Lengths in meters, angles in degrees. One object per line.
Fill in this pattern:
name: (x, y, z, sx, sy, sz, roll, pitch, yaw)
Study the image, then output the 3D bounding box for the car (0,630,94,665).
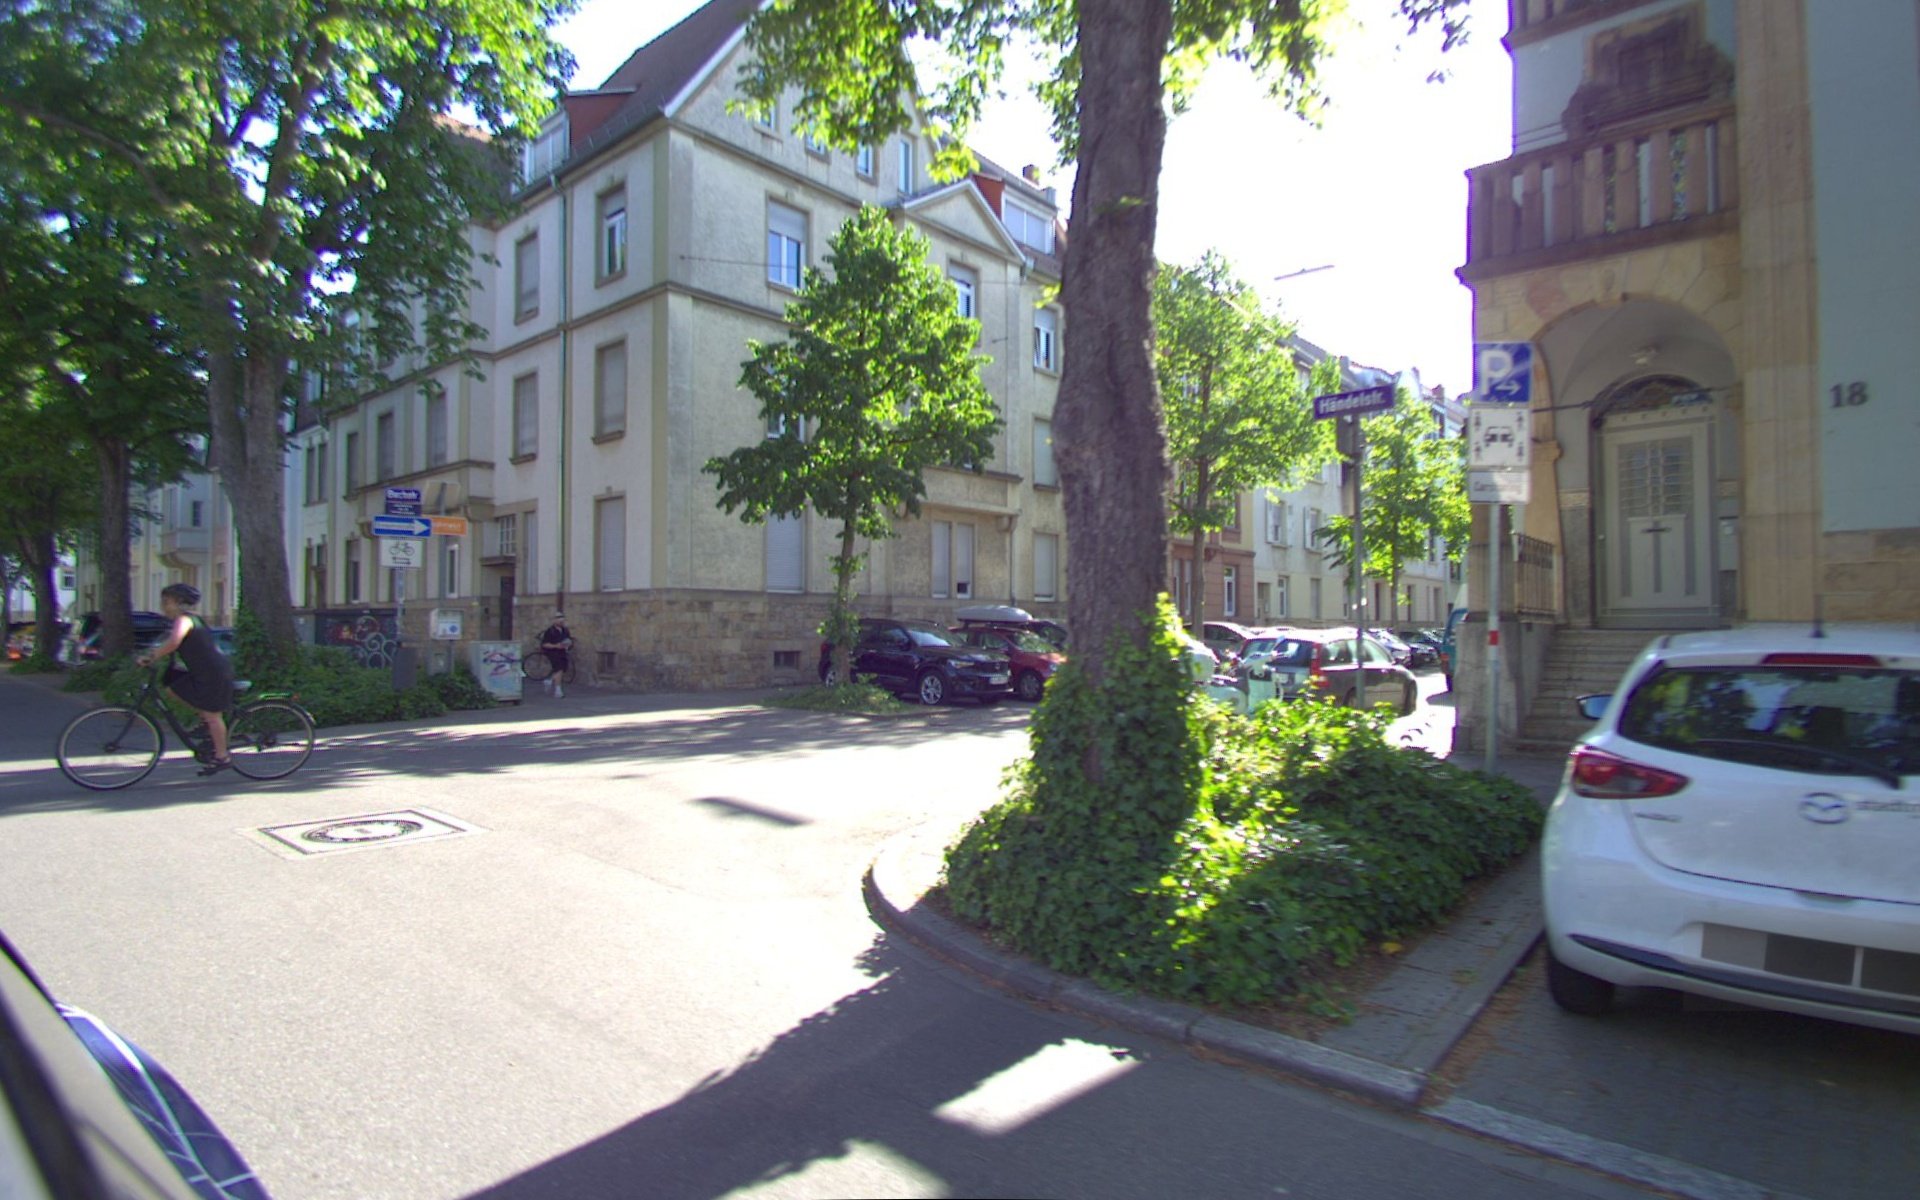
car: (-39.482, 2.011, 43.308, 1.541, 1.440, 3.451, -1, -2, 40)

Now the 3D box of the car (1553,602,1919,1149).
car: (3.850, 0.809, 4.275, 1.720, 1.528, 3.686, -2, -2, 40)

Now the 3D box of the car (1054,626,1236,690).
car: (4.817, 1.483, 26.750, 4.417, 1.496, 1.845, 0, -2, 43)

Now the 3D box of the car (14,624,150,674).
car: (-31.003, 1.692, 35.807, 1.460, 1.704, 3.451, -1, -2, 40)

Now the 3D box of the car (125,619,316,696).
car: (-19.328, 1.438, 26.639, 3.934, 1.775, 2.005, 0, 0, -35)

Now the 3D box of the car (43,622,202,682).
car: (-25.403, 1.560, 30.766, 1.681, 1.704, 3.451, -2, -3, 40)

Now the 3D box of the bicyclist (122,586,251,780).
bicyclist: (-6.716, 0.693, 8.793, 0.755, 1.583, 0.728, -2, -2, 40)

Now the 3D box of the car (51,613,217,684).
car: (-23.925, 1.386, 29.384, 1.820, 1.907, 3.451, -2, -3, 40)

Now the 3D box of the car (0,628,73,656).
car: (-48.391, 2.166, 52.464, 1.541, 1.440, 3.451, -1, -2, 40)

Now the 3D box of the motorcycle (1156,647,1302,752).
motorcycle: (3.435, 1.234, 12.896, 1.815, 1.249, 0.590, 1, -2, -24)

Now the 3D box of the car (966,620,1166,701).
car: (2.365, 1.323, 23.412, 4.417, 1.667, 1.766, 0, -2, 43)

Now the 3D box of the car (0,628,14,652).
car: (-58.707, 2.362, 60.154, 1.541, 1.440, 3.451, -1, -2, 40)

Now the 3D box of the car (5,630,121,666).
car: (-37.516, 1.992, 42.370, 1.541, 1.440, 3.451, -1, -2, 40)

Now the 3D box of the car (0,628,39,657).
car: (-47.760, 2.095, 49.771, 1.541, 1.440, 3.451, -1, -2, 40)

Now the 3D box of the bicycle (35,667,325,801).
bicycle: (-6.705, 1.103, 8.803, 0.594, 0.994, 1.895, -2, -3, 40)

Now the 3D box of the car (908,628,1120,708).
car: (1.062, 1.363, 21.402, 4.281, 1.452, 1.845, 0, -2, 43)

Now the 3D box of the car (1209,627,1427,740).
car: (5.675, 1.210, 15.788, 1.894, 1.475, 3.852, 1, -1, 42)

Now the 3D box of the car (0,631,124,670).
car: (-34.676, 1.910, 39.074, 1.541, 1.440, 3.451, -1, -2, 40)

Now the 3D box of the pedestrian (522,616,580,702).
pedestrian: (-7.991, 1.136, 19.763, 0.978, 1.620, 0.658, -2, -2, 41)

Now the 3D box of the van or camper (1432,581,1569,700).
van or camper: (12.834, 0.919, 23.902, 1.910, 2.543, 4.209, 1, -1, 41)

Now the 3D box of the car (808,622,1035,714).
car: (-0.842, 1.248, 19.811, 4.417, 1.566, 1.845, 0, -2, 42)

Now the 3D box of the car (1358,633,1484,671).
car: (19.072, 2.103, 41.937, 4.417, 1.420, 1.845, 0, -2, 43)

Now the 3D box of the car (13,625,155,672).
car: (-29.747, 1.634, 34.425, 1.440, 1.504, 3.451, -2, -3, 40)

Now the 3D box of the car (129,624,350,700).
car: (-16.301, 1.334, 22.993, 3.938, 1.443, 1.806, 0, 0, -42)

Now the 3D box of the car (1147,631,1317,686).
car: (7.852, 1.662, 29.450, 4.417, 1.420, 1.845, 0, -2, 43)
